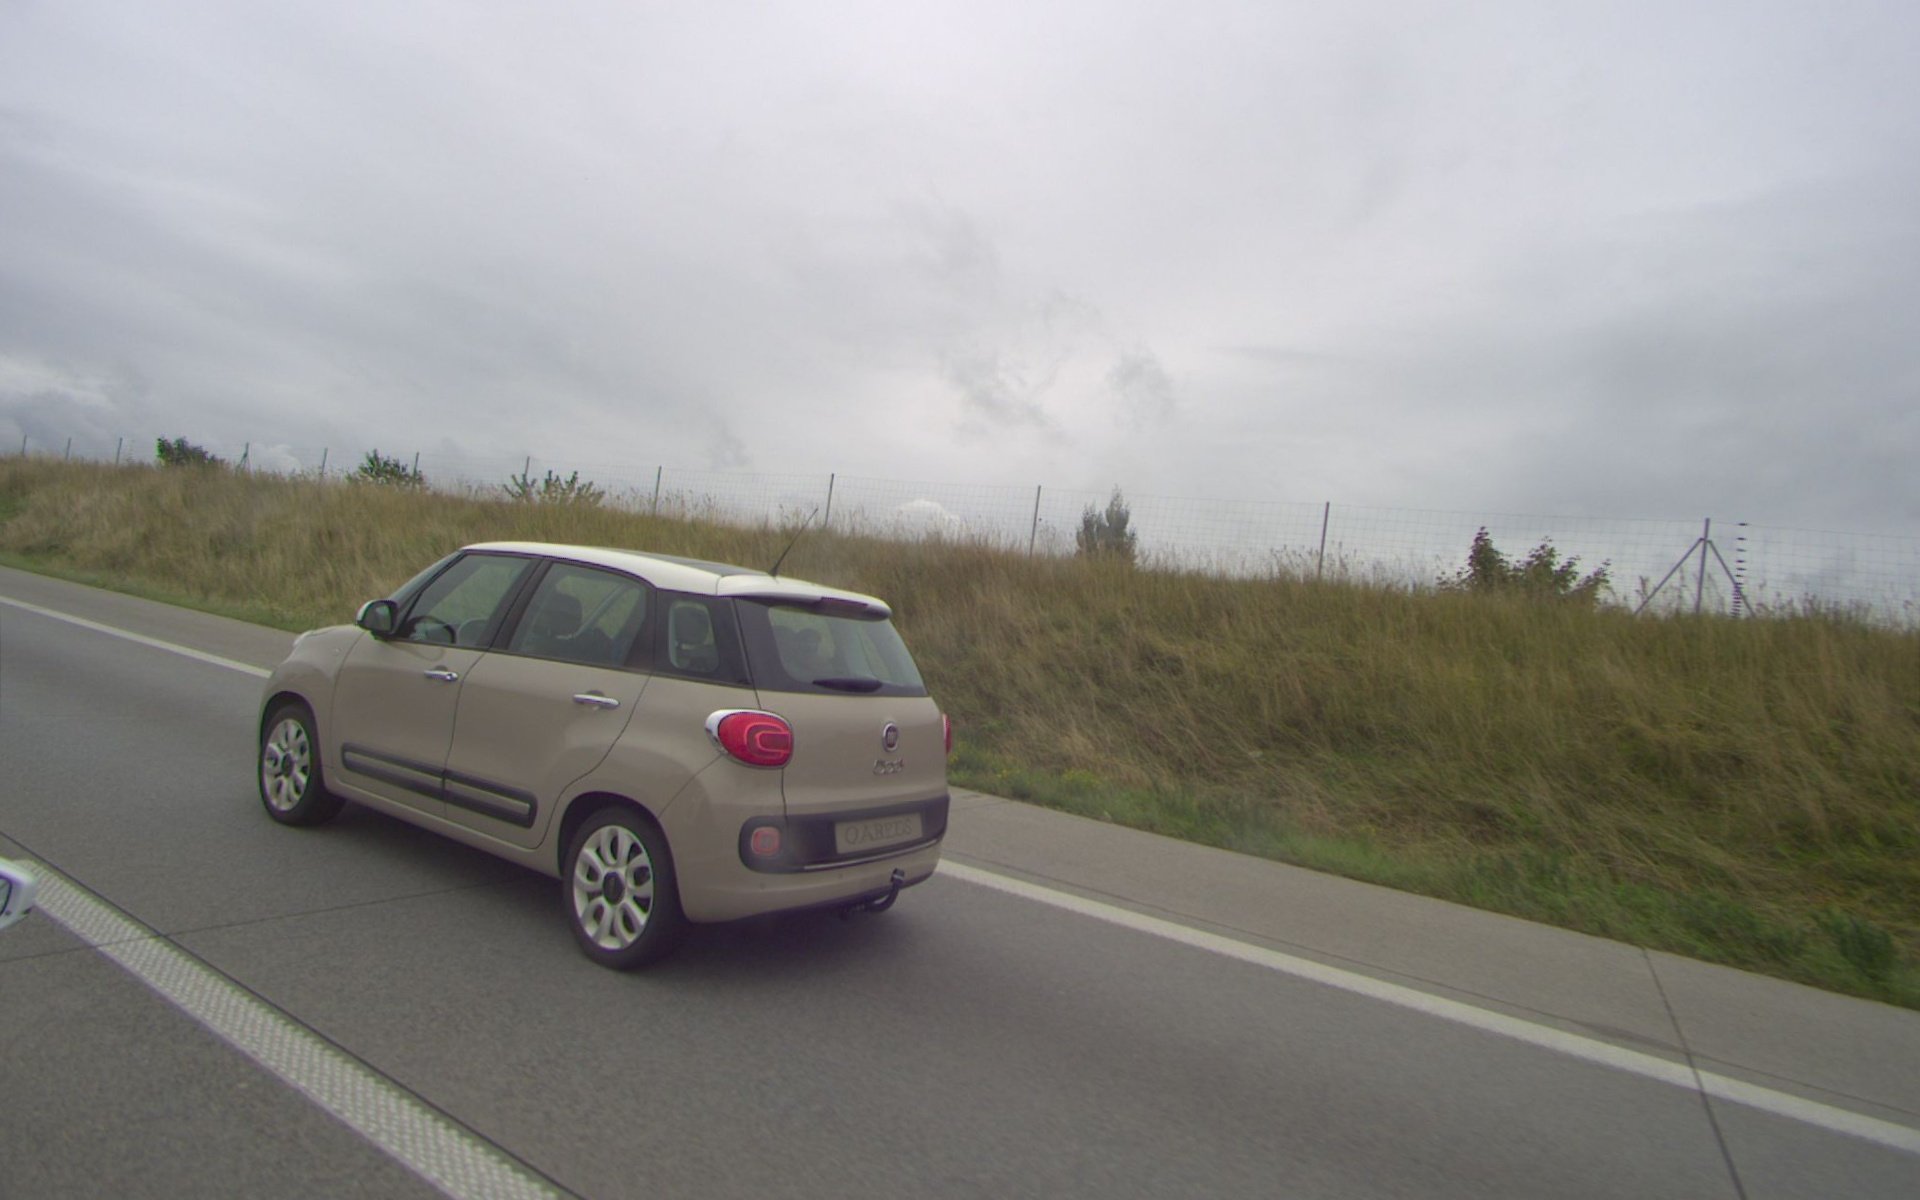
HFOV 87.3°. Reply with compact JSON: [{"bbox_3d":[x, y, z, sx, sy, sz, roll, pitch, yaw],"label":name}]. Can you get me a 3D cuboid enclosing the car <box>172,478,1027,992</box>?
[{"bbox_3d":[-2.122,0.417,5.442,4.494,1.623,1.789,7,-2,32],"label":"car"}]
